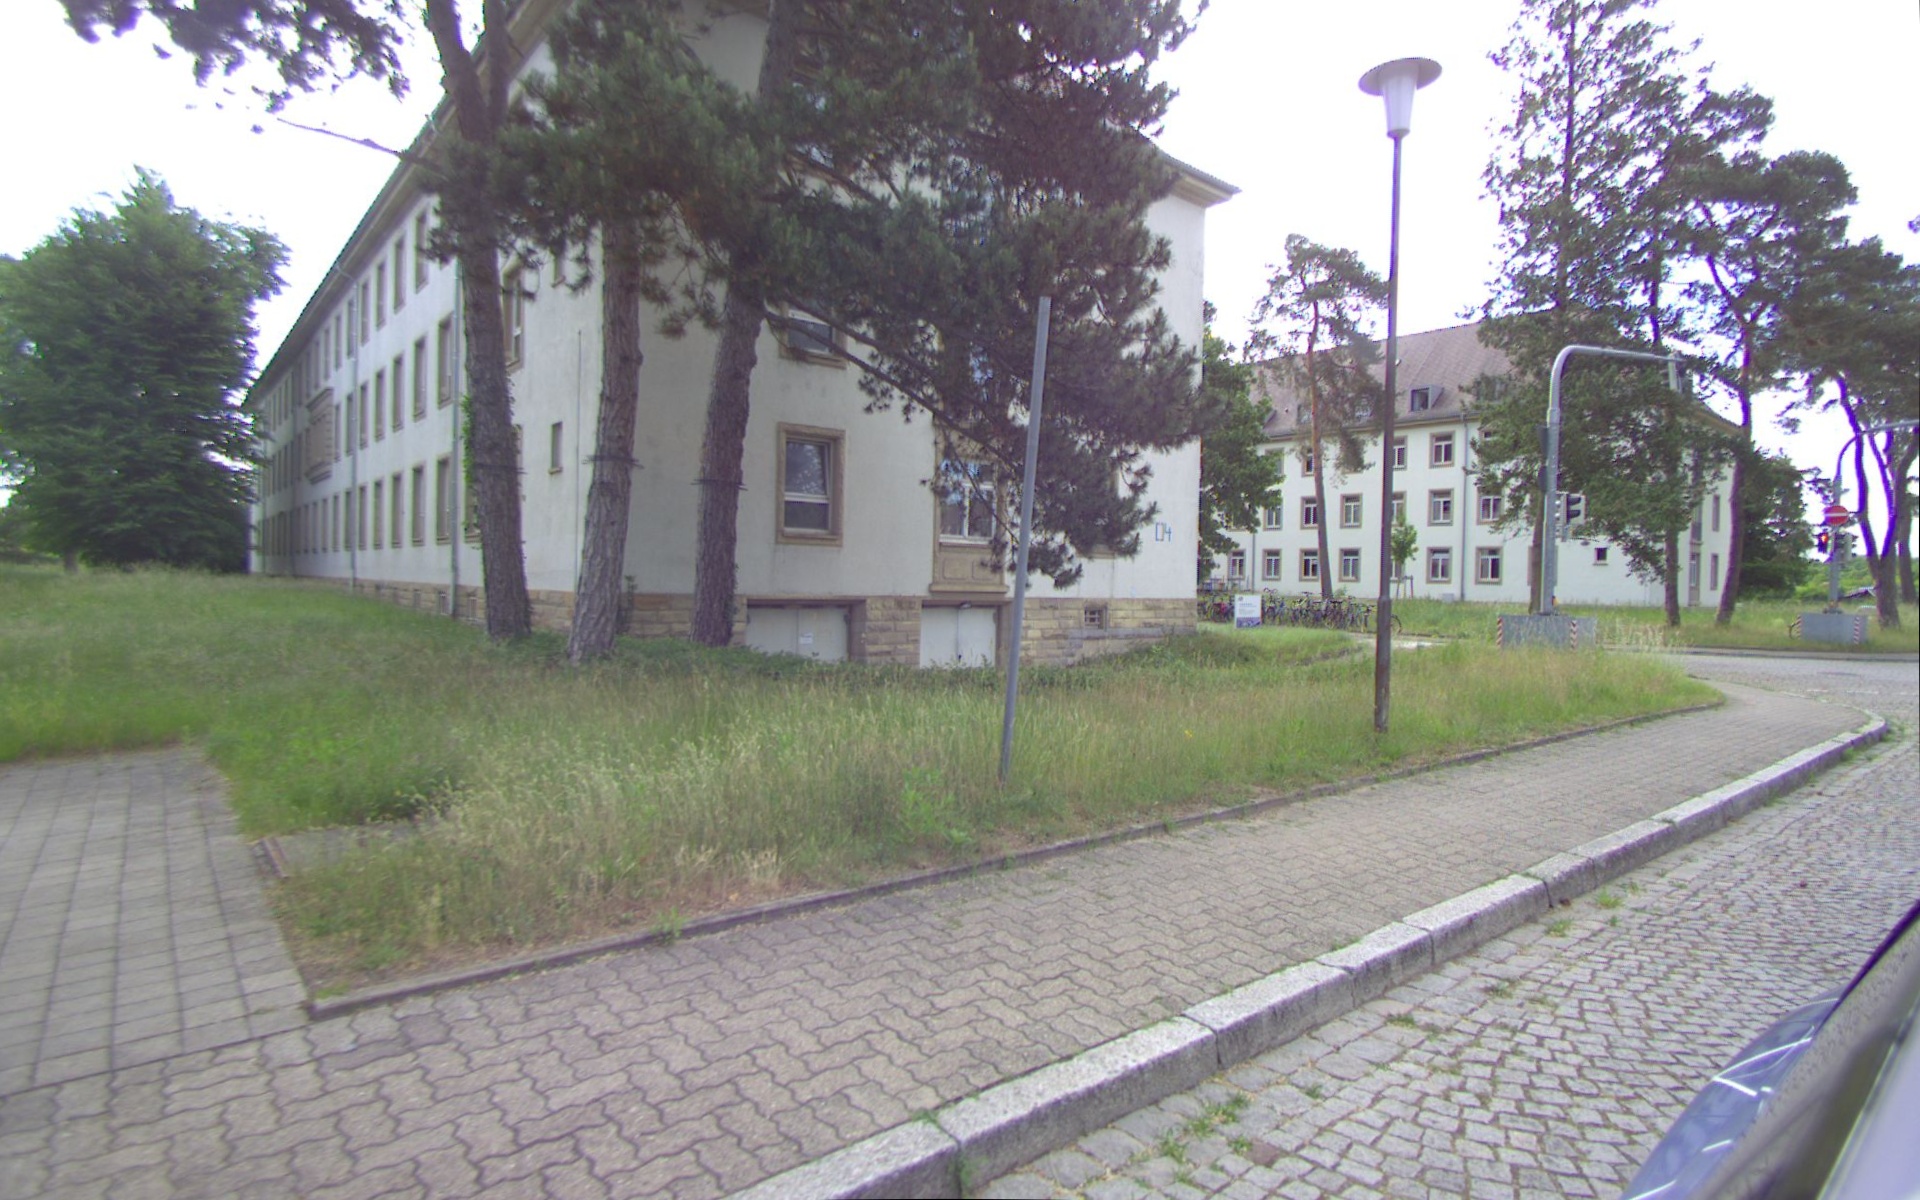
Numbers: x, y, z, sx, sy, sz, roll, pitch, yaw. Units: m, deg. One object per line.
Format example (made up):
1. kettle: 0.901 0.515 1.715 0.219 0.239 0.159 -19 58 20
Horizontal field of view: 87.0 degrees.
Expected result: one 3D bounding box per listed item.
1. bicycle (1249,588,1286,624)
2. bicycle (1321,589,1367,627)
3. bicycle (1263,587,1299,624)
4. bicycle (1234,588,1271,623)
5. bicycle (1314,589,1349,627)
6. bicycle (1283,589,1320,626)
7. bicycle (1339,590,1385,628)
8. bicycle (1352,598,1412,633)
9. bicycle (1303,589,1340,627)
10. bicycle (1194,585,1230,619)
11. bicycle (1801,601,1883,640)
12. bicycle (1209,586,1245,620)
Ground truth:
1. bicycle: 11.900 0.211 39.120 0.571 1.348 1.808 1 1 44
2. bicycle: 13.977 0.292 36.802 1.802 1.348 0.573 1 0 -33
3. bicycle: 12.281 0.209 38.702 0.571 1.348 1.808 1 1 44
4. bicycle: 11.477 0.212 39.709 0.571 1.348 1.808 1 1 44
5. bicycle: 13.669 0.293 37.192 0.481 1.348 1.808 1 1 44
6. bicycle: 12.865 0.289 38.080 0.571 1.348 1.808 1 1 44
7. bicycle: 14.463 0.314 36.393 1.802 1.348 0.573 1 0 -33
8. bicycle: 14.210 0.505 34.107 0.562 1.098 1.837 -1 2 -36
9. bicycle: 13.401 0.294 37.532 0.571 1.348 1.808 1 1 44
10. bicycle: 10.243 0.075 41.171 0.571 1.348 1.808 1 1 44
11. bicycle: 26.875 0.614 30.850 0.563 1.098 1.835 -2 2 -41
12. bicycle: 10.748 0.127 40.670 0.571 1.348 1.808 1 1 44
